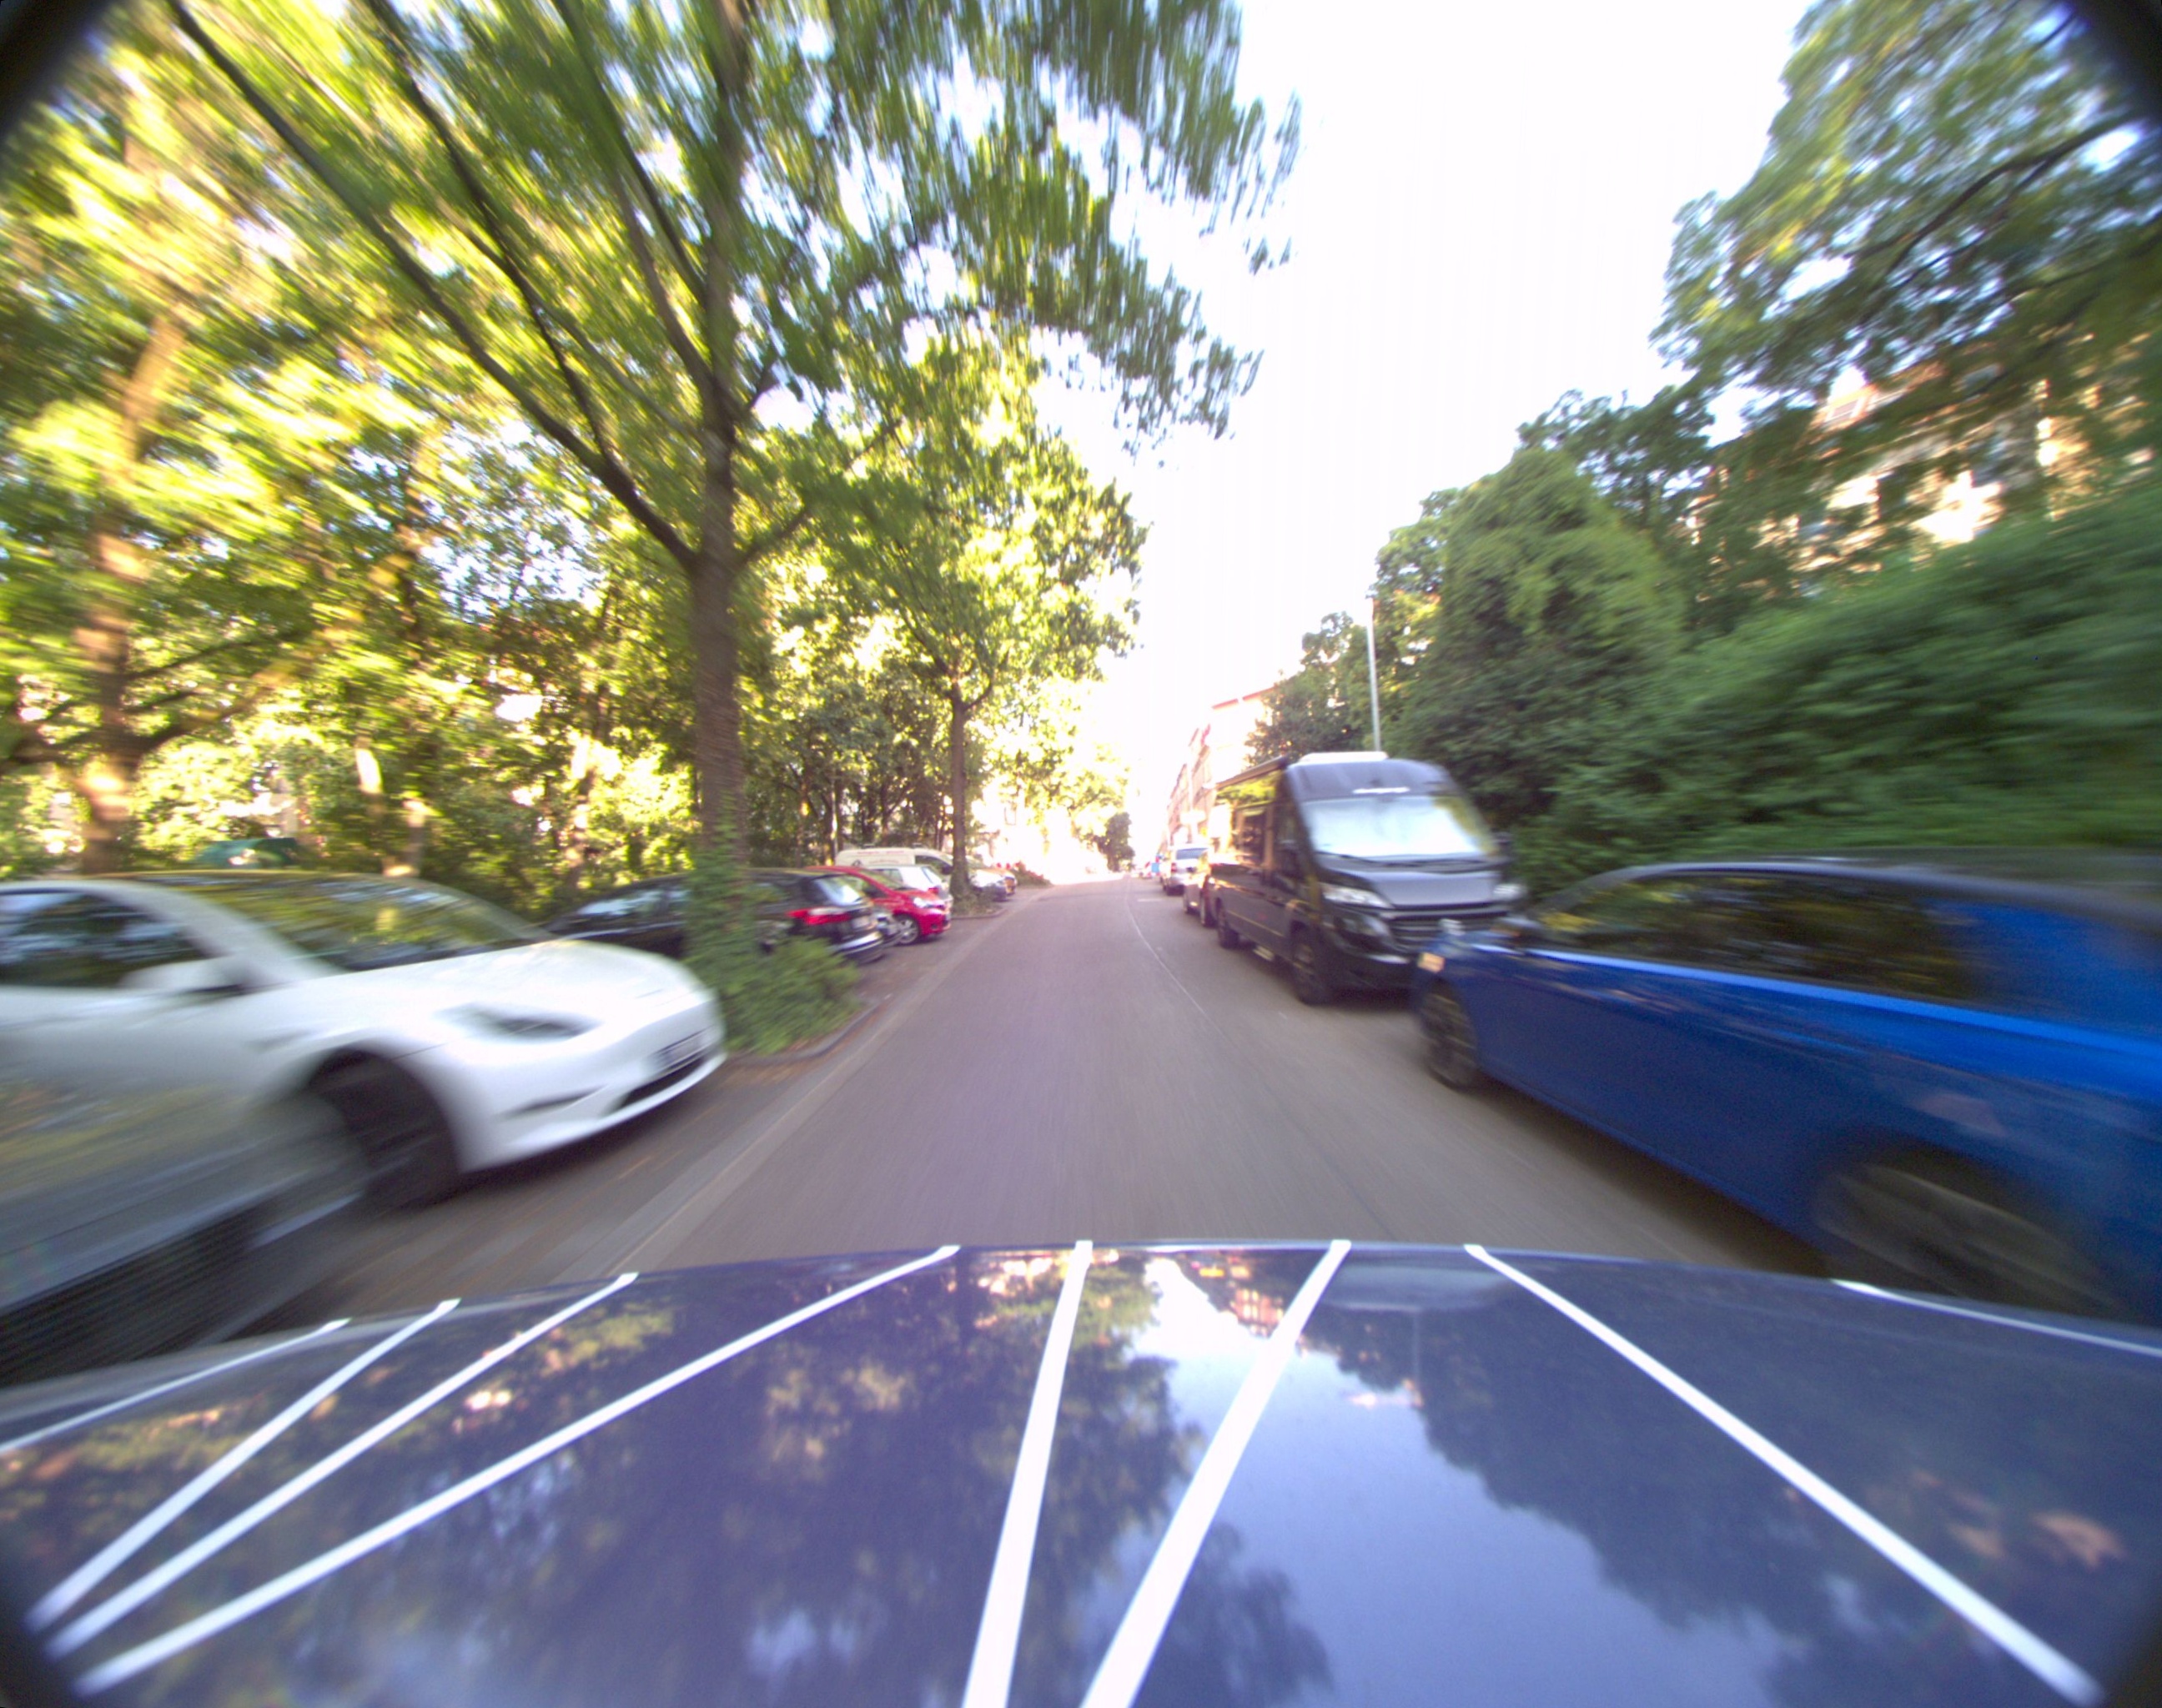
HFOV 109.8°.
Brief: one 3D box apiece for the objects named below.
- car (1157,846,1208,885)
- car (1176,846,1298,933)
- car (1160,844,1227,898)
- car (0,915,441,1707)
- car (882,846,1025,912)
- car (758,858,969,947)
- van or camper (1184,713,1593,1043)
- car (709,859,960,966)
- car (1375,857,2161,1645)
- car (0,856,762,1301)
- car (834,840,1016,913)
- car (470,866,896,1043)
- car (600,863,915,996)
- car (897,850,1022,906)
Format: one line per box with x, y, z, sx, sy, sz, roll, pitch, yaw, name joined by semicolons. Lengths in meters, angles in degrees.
3.928;0.395;29.934;1.703;1.391;4.194;-1;1;4;car
3.049;0.609;15.684;1.703;1.498;4.228;-1;1;1;car
3.385;0.451;23.561;1.703;1.489;4.550;-1;1;5;car
-4.355;1.125;1.575;4.385;1.524;1.876;-4;1;1;car
-3.957;0.755;23.990;3.995;1.748;1.799;-4;1;7;car
-4.668;1.029;16.633;3.995;1.565;1.666;-4;1;5;car
2.926;0.166;9.331;2.241;2.508;6.420;-4;1;0;van or camper
-4.431;1.037;14.041;3.997;1.565;1.587;-4;1;1;car
3.035;0.834;3.223;1.749;1.458;4.374;-4;1;-1;car
-4.476;1.027;4.144;4.543;1.686;1.907;-4;1;1;car
-4.284;0.601;21.408;4.682;1.914;1.872;-1;1;1;car
-4.431;1.087;8.877;4.030;1.565;1.587;-4;1;1;car
-4.755;1.085;11.540;3.997;1.565;1.587;-4;1;1;car
-4.176;0.812;26.638;3.997;1.618;1.798;-4;1;-1;car
